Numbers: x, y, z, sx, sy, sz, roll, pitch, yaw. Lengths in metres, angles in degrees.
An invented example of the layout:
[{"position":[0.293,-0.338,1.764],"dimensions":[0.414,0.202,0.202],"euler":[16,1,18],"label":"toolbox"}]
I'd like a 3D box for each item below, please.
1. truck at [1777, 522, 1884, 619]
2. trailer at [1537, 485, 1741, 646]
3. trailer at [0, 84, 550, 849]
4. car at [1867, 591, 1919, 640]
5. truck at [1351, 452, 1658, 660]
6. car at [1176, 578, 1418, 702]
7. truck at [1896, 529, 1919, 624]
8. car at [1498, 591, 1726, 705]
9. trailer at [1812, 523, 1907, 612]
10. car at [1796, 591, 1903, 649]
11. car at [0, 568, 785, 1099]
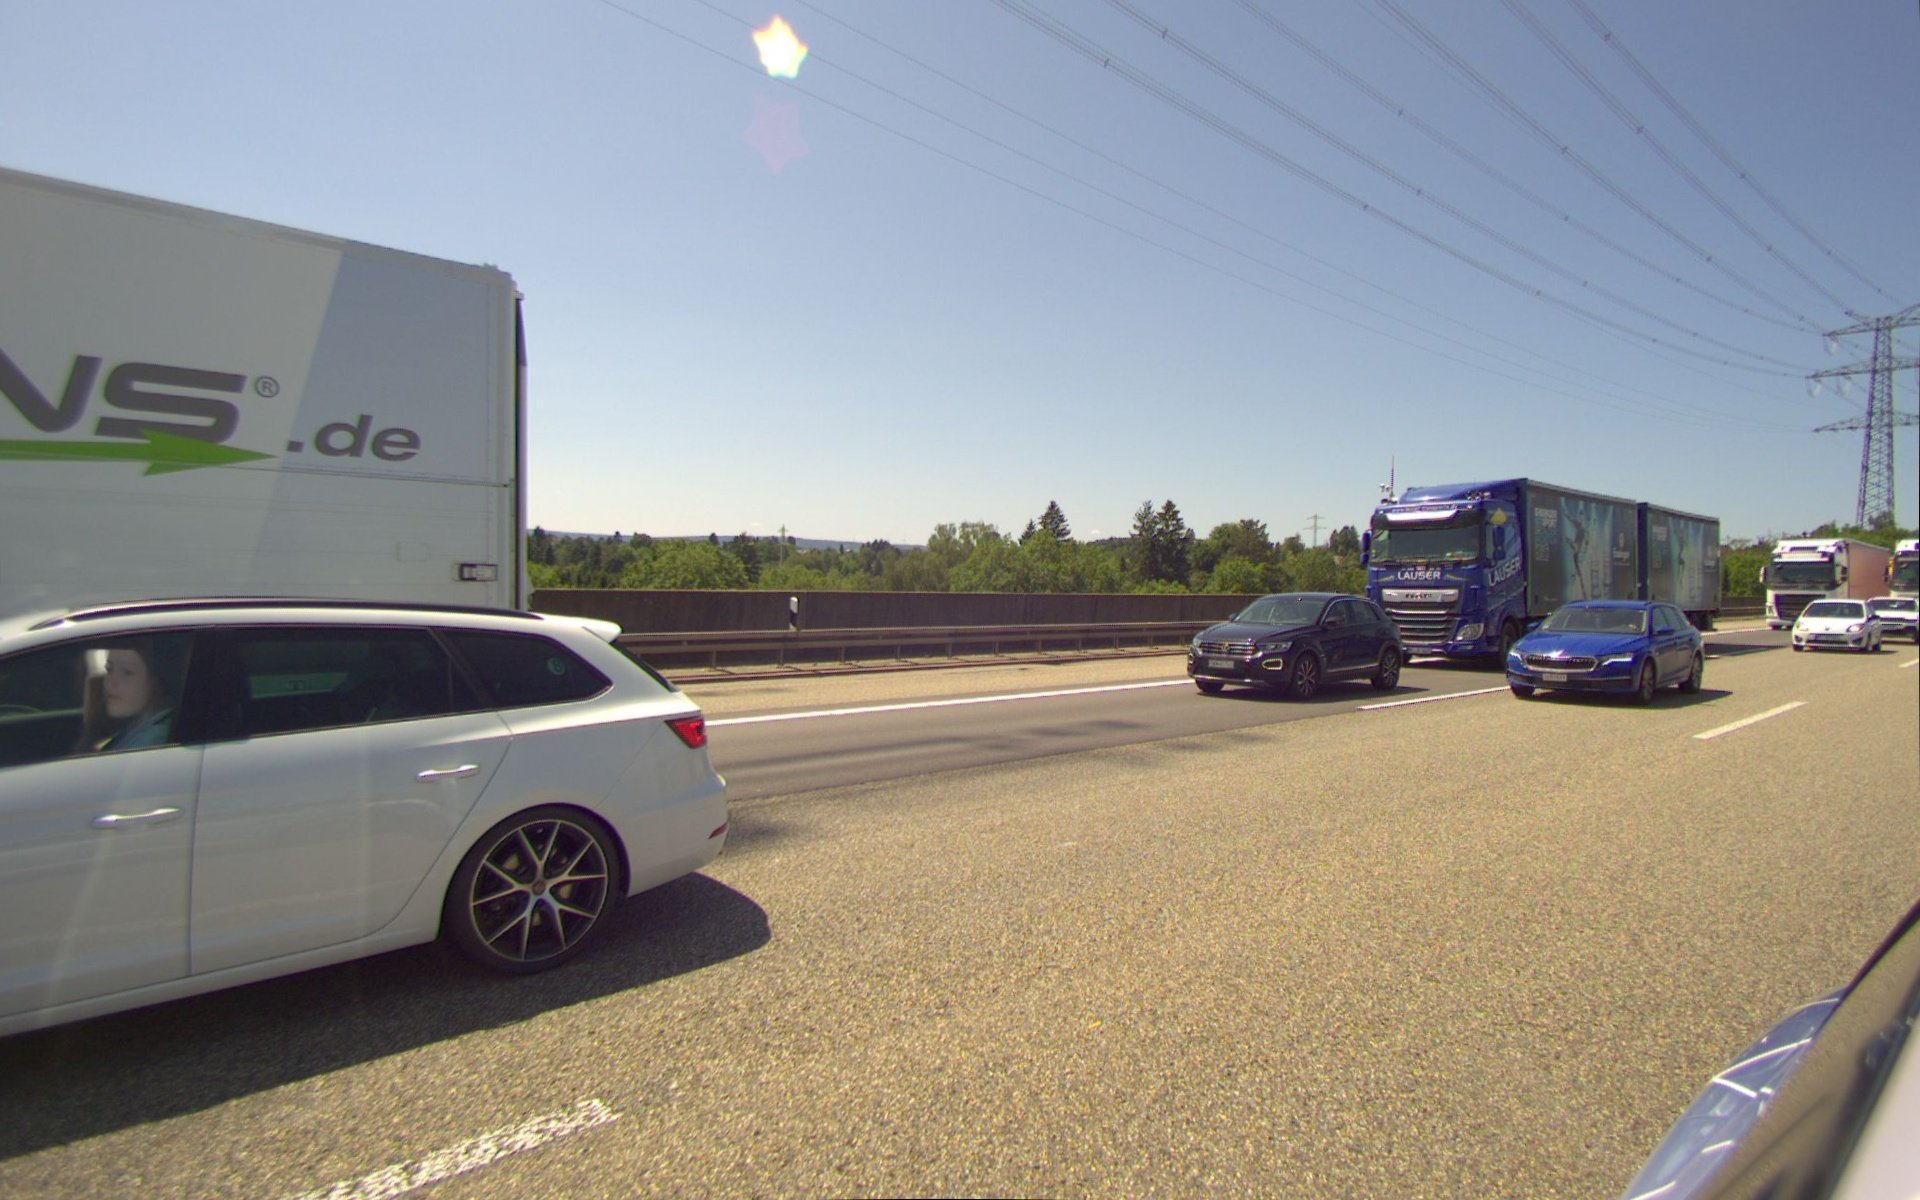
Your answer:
[{"position":[39.554,-1.271,45.895],"dimensions":[8.122,4.038,2.605],"euler":[-1,0,-42],"label":"truck"},{"position":[20.215,-0.955,29.884],"dimensions":[8.487,4.140,2.833],"euler":[-1,0,-41],"label":"trailer"},{"position":[-6.830,-0.677,5.468],"dimensions":[8.073,3.940,2.903],"euler":[-1,0,-42],"label":"trailer"},{"position":[31.507,0.479,33.463],"dimensions":[4.071,1.529,1.711],"euler":[-1,1,-40],"label":"car"},{"position":[13.134,-0.913,23.806],"dimensions":[10.212,3.999,2.857],"euler":[-1,0,-41],"label":"truck"},{"position":[5.288,0.511,15.627],"dimensions":[4.046,1.675,1.711],"euler":[-1,0,-40],"label":"car"},{"position":[42.901,-1.023,43.517],"dimensions":[8.117,3.874,2.848],"euler":[-1,0,-40],"label":"truck"},{"position":[10.020,0.619,15.424],"dimensions":[4.483,1.470,1.711],"euler":[-1,1,-41],"label":"car"},{"position":[45.955,-1.606,51.585],"dimensions":[8.929,4.170,2.605],"euler":[-1,0,-42],"label":"trailer"},{"position":[25.048,0.510,28.453],"dimensions":[4.071,1.470,1.711],"euler":[-1,1,-40],"label":"car"},{"position":[-2.962,0.645,3.685],"dimensions":[4.352,1.470,1.711],"euler":[0,0,-42],"label":"car"}]
